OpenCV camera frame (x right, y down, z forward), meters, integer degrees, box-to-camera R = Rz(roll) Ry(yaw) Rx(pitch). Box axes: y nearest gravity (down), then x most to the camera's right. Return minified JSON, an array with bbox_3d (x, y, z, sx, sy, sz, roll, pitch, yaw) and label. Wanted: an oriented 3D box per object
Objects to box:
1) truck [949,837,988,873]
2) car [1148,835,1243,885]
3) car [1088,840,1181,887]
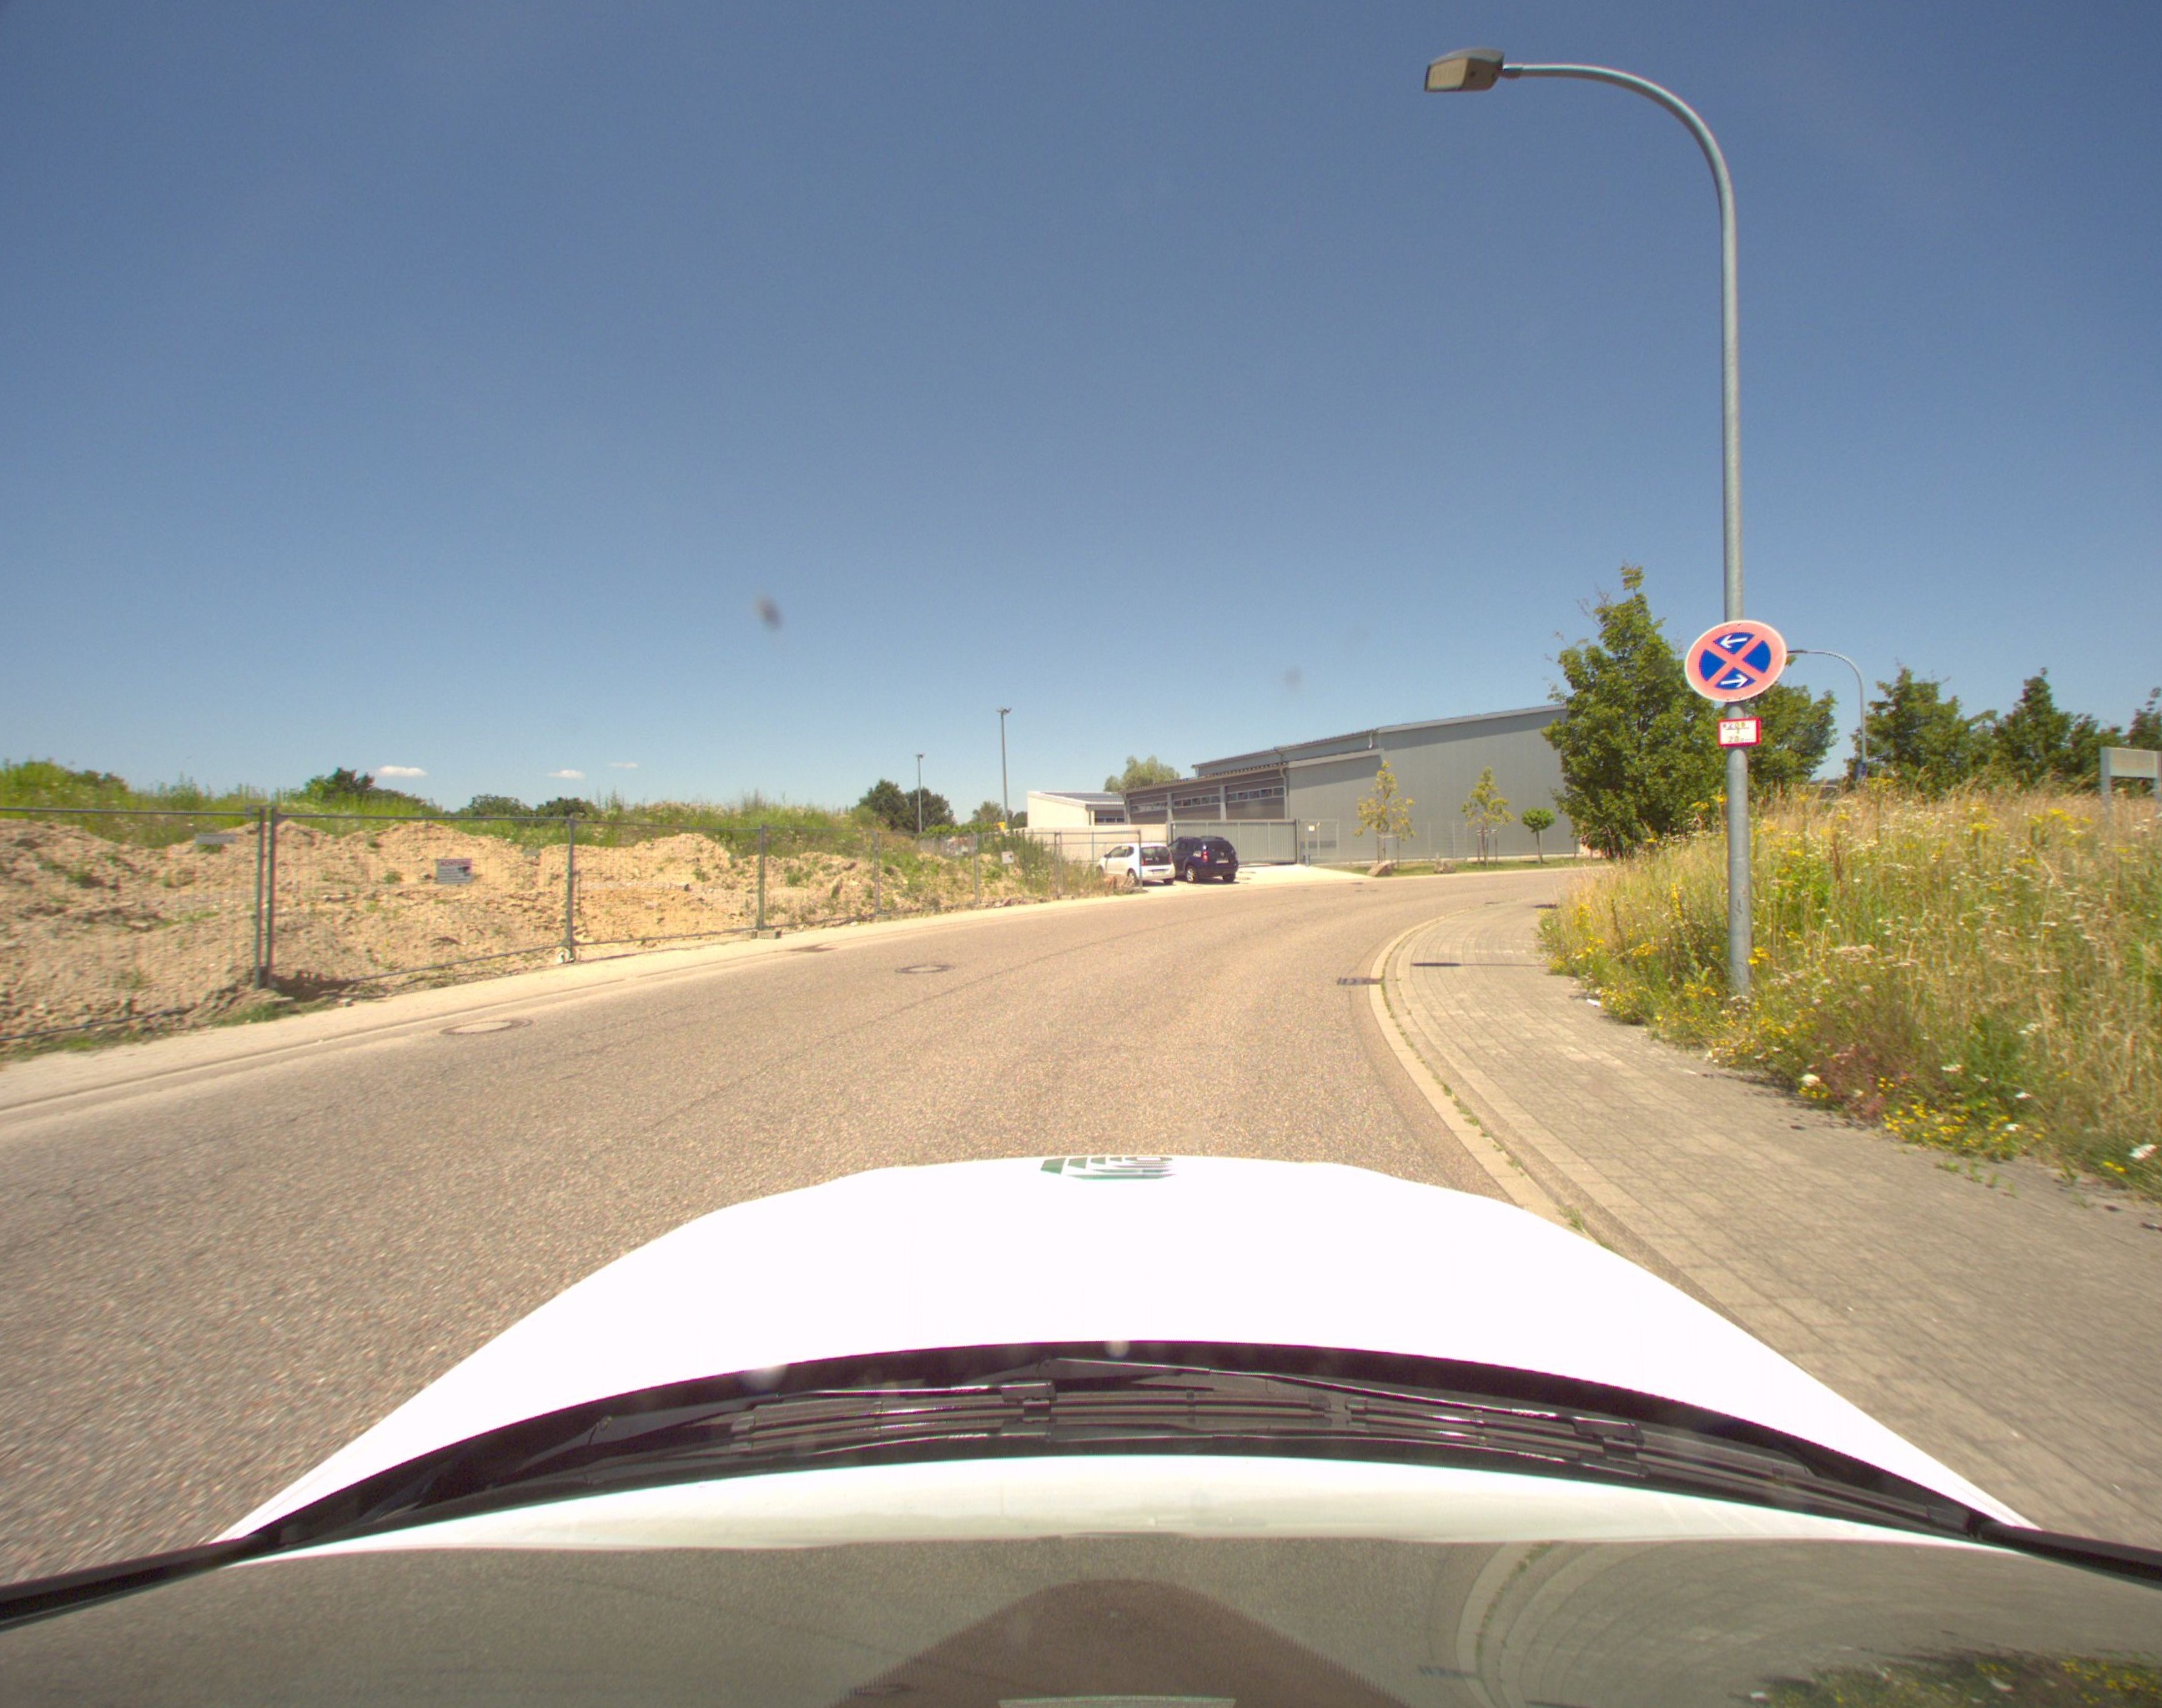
[{"bbox_3d":[-9.973,0.155,71.626,2.004,2.984,4.606,-2,0,-25],"label":"truck"},{"bbox_3d":[4.234,0.167,30.610,1.804,1.608,3.671,-3,3,-27],"label":"car"},{"bbox_3d":[1.899,0.287,29.803,1.793,1.498,3.671,-3,3,-27],"label":"car"}]
